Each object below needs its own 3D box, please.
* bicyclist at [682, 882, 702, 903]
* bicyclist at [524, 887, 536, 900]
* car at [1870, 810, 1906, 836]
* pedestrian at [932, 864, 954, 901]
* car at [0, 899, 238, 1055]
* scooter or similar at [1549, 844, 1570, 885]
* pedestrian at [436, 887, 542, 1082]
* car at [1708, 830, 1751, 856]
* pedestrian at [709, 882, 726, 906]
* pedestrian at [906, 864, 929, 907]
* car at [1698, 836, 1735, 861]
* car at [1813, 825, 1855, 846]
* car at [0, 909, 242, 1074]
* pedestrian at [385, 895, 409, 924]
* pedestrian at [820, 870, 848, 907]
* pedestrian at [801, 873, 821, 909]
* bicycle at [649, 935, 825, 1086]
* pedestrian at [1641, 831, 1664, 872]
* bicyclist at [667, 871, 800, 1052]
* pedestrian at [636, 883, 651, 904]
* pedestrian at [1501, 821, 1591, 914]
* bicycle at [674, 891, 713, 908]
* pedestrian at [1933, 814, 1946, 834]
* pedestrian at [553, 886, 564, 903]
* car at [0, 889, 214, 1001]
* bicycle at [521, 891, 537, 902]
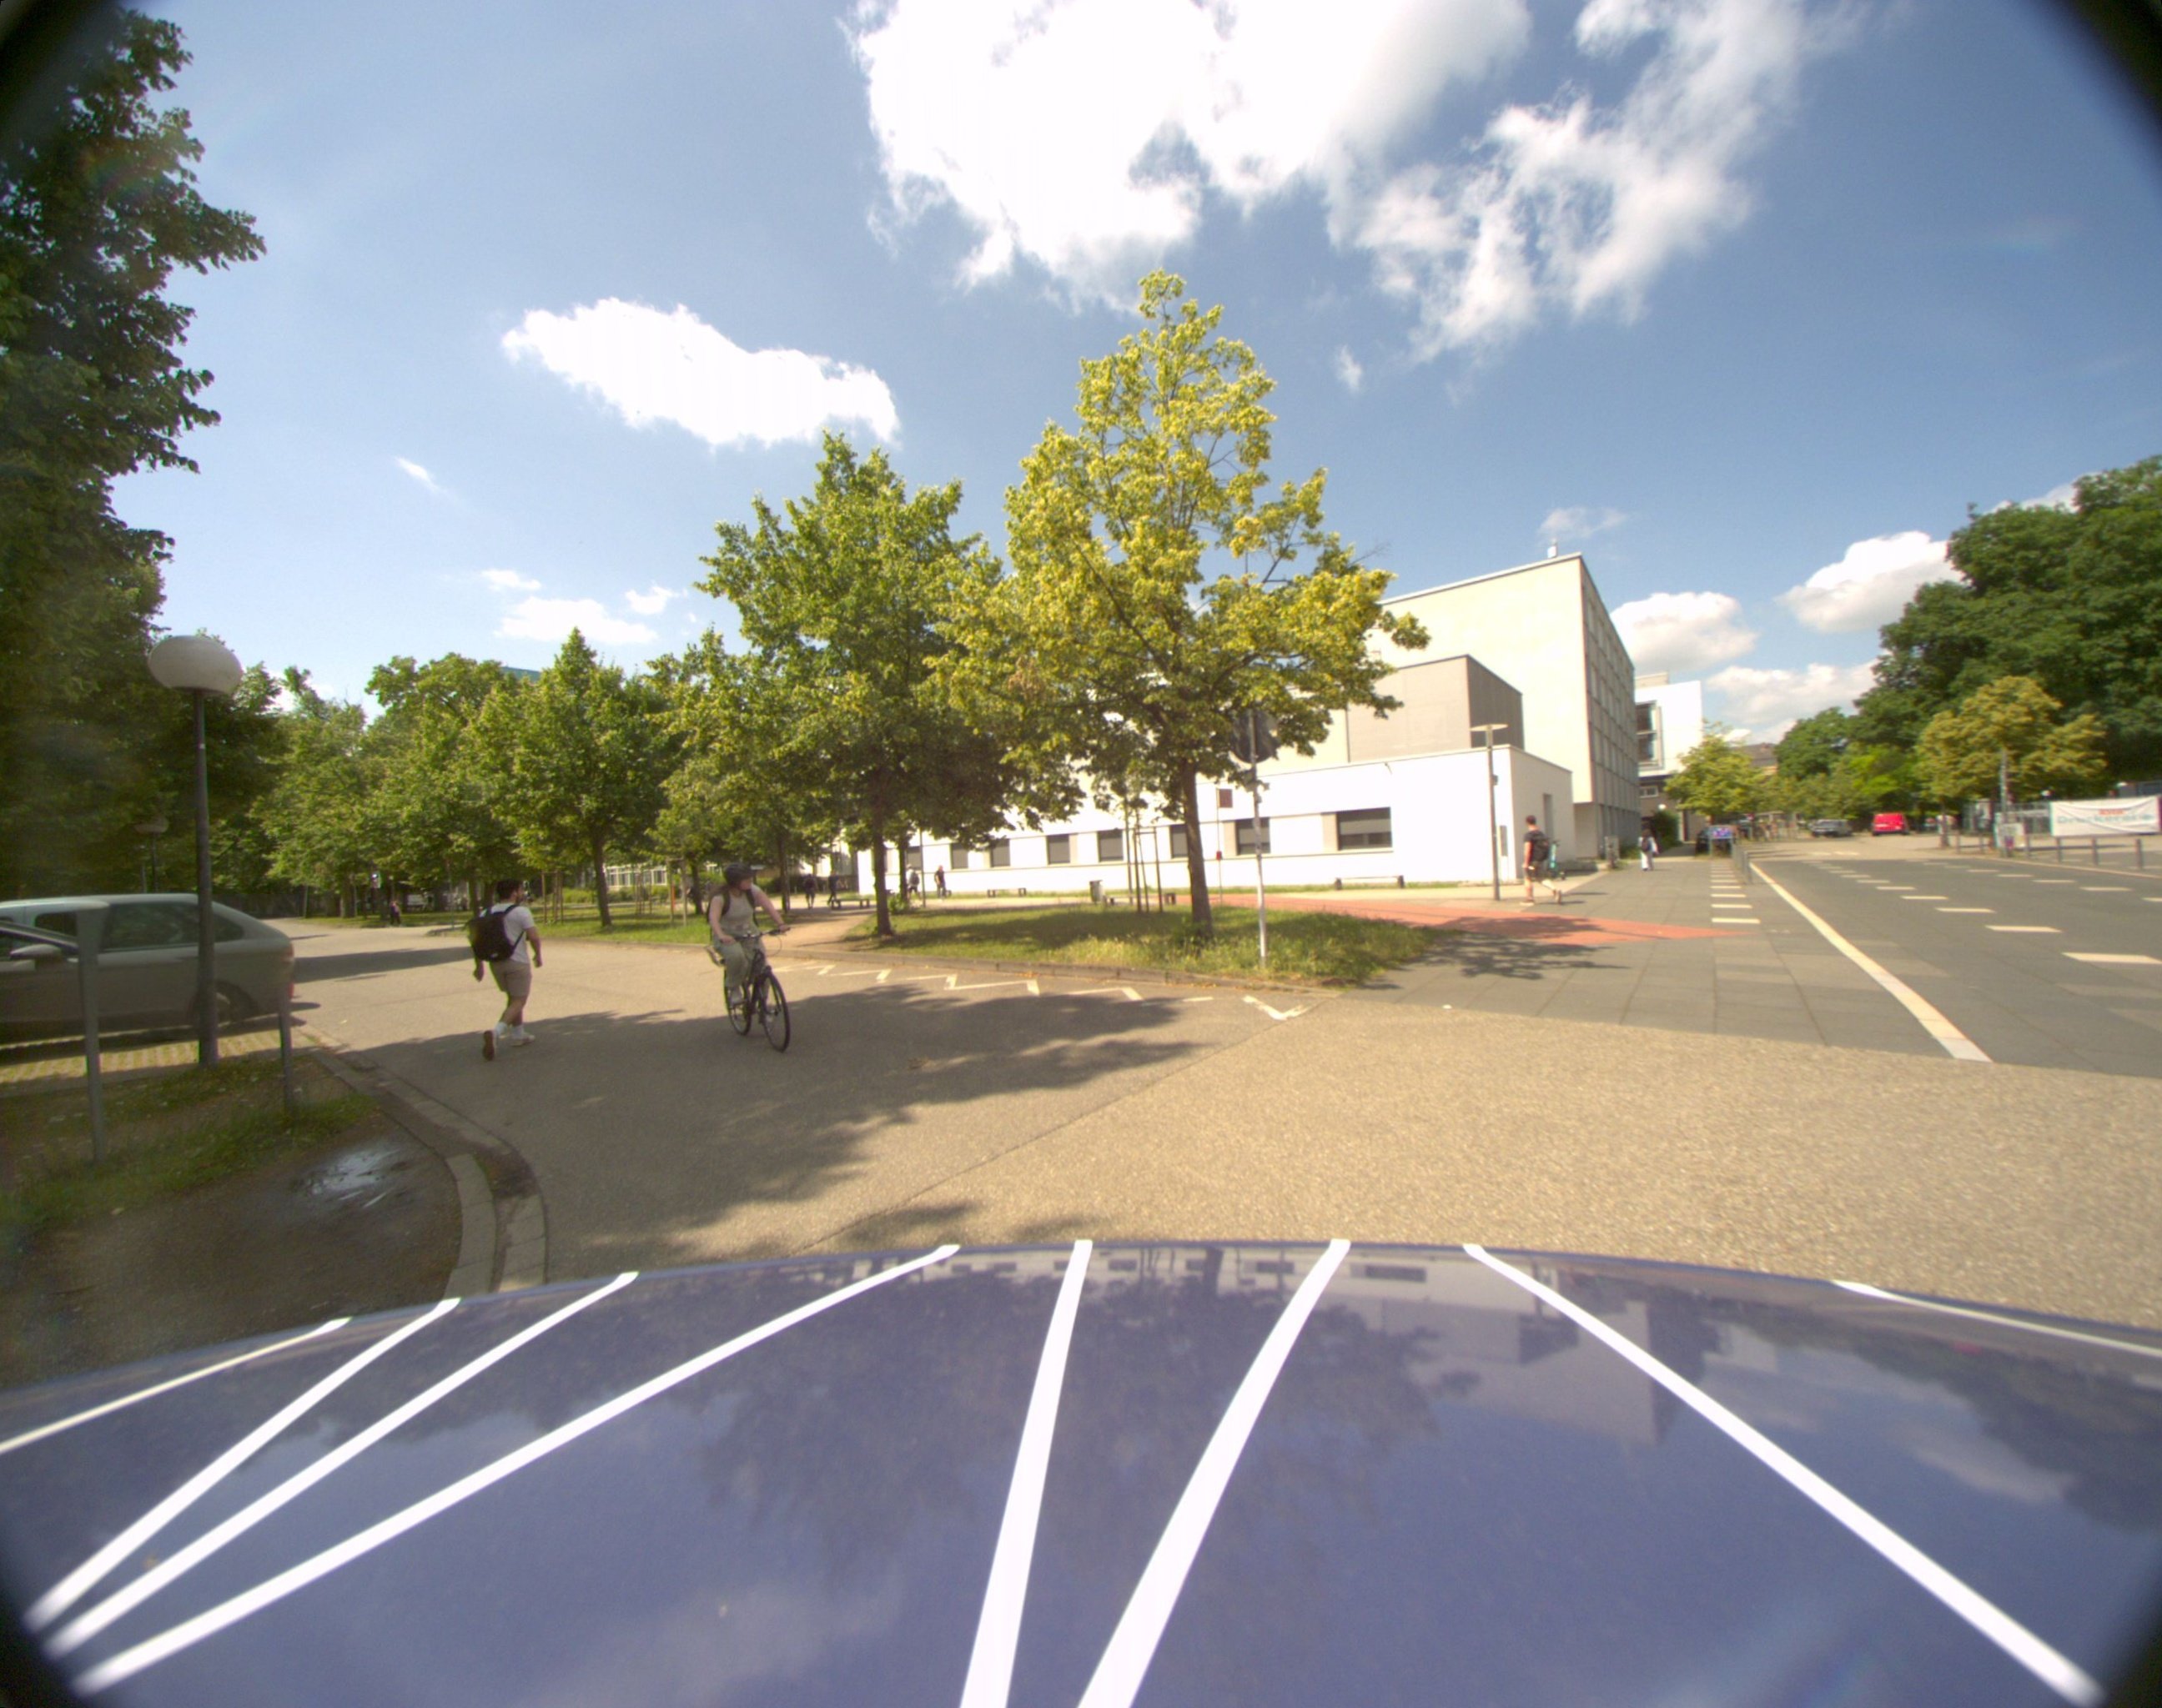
[{"bbox_3d":[-24.256,2.414,47.379,0.796,1.252,0.903,-3,0,44],"label":"bicyclist"},{"bbox_3d":[-57.472,4.132,79.220,0.826,1.325,0.780,-3,0,39],"label":"bicyclist"},{"bbox_3d":[64.533,-2.455,60.794,4.008,1.870,1.909,-2,-1,-44],"label":"car"},{"bbox_3d":[-6.342,1.305,34.899,0.723,1.678,0.630,-3,0,39],"label":"pedestrian"},{"bbox_3d":[-14.366,1.660,10.131,1.819,1.827,4.008,-3,0,38],"label":"car"},{"bbox_3d":[14.740,0.320,23.388,0.326,1.228,1.075,-2,0,42],"label":"scooter or similar"},{"bbox_3d":[-5.708,1.211,7.327,0.581,1.734,0.643,-2,0,42],"label":"pedestrian"},{"bbox_3d":[43.681,-0.750,51.138,1.936,1.671,3.476,-2,0,44],"label":"car"},{"bbox_3d":[-25.649,2.792,53.625,0.851,1.639,0.801,-3,0,-40],"label":"pedestrian"},{"bbox_3d":[-6.886,1.301,31.969,0.711,1.759,0.830,-3,0,0],"label":"pedestrian"},{"bbox_3d":[37.772,-0.356,45.216,1.549,1.377,3.461,-3,0,38],"label":"car"},{"bbox_3d":[80.878,-2.009,81.588,4.439,2.079,2.023,-2,-1,-29],"label":"car"},{"bbox_3d":[-12.545,1.568,8.300,1.890,1.642,4.371,-3,-1,38],"label":"car"},{"bbox_3d":[-36.347,2.933,40.384,0.633,1.479,0.798,-3,0,39],"label":"pedestrian"},{"bbox_3d":[-12.022,1.672,36.955,1.092,1.765,0.796,-3,0,45],"label":"pedestrian"},{"bbox_3d":[-12.854,1.737,36.169,0.727,1.647,0.715,-3,0,-10],"label":"pedestrian"},{"bbox_3d":[-3.251,1.357,7.059,2.130,1.066,0.677,-4,1,44],"label":"bicycle"},{"bbox_3d":[20.613,-0.102,27.401,0.524,1.430,0.702,-2,0,43],"label":"pedestrian"},{"bbox_3d":[-3.196,0.927,6.974,1.060,1.470,0.677,-2,2,44],"label":"bicyclist"},{"bbox_3d":[-35.244,3.179,61.221,0.633,1.712,0.798,-3,0,39],"label":"pedestrian"},{"bbox_3d":[9.396,0.247,15.387,1.022,1.790,1.169,-1,1,-23],"label":"pedestrian"},{"bbox_3d":[-24.186,2.817,47.447,0.796,0.912,1.950,-3,0,44],"label":"bicycle"},{"bbox_3d":[66.354,-2.303,58.736,0.454,1.529,0.642,-3,0,-39],"label":"pedestrian"},{"bbox_3d":[-51.195,3.982,74.474,0.761,1.619,0.598,-3,0,39],"label":"pedestrian"},{"bbox_3d":[-21.348,1.877,15.940,1.995,2.002,4.060,-3,0,40],"label":"car"},{"bbox_3d":[-57.577,4.432,79.310,2.143,1.026,0.780,-3,0,39],"label":"bicycle"}]
